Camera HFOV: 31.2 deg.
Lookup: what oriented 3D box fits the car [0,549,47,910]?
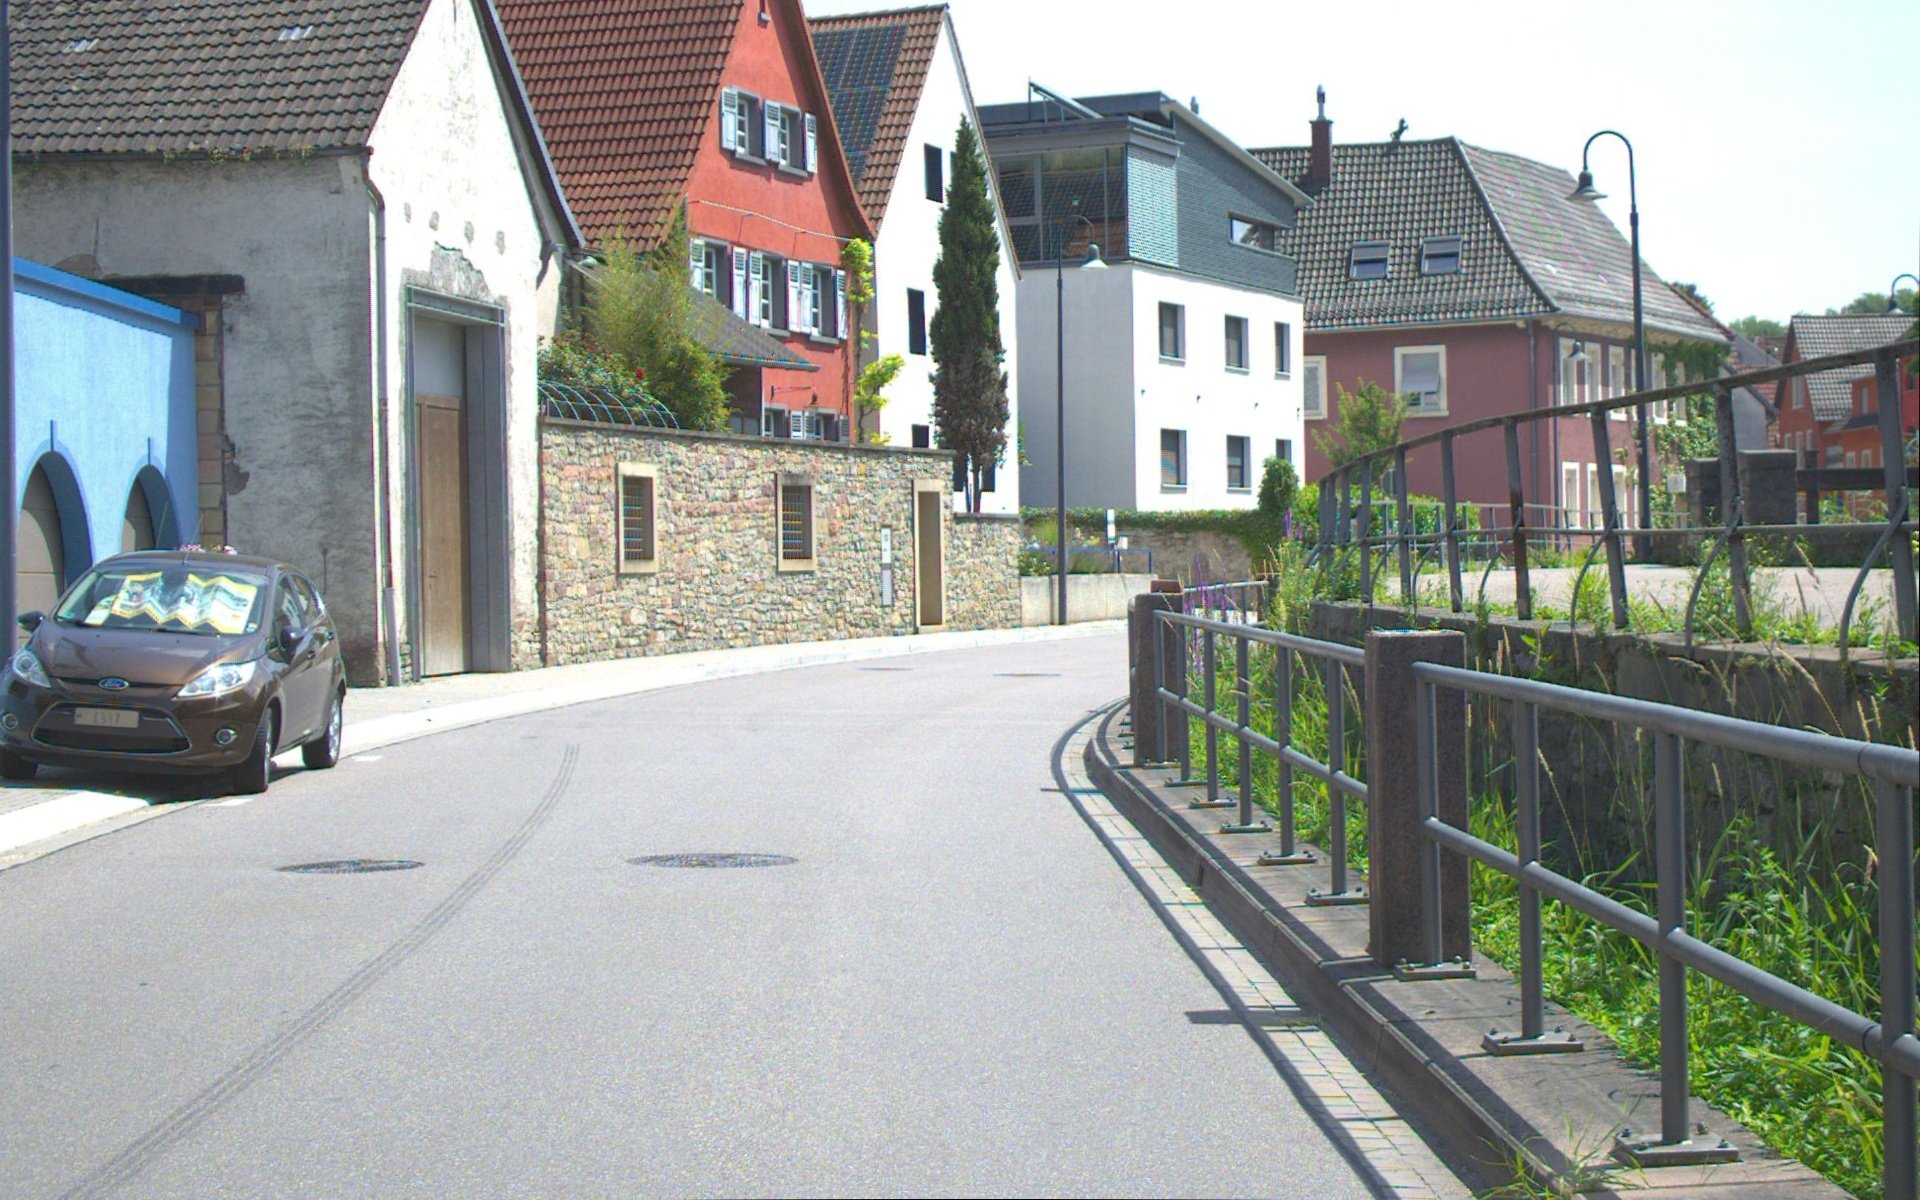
[{"bbox_3d":[-4.826,0.542,12.186,1.885,1.459,4.669,2,1,0],"label":"car"}]

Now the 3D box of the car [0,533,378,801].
[{"bbox_3d":[-5.098,0.381,22.581,1.717,1.525,3.856,3,1,2],"label":"car"}]
